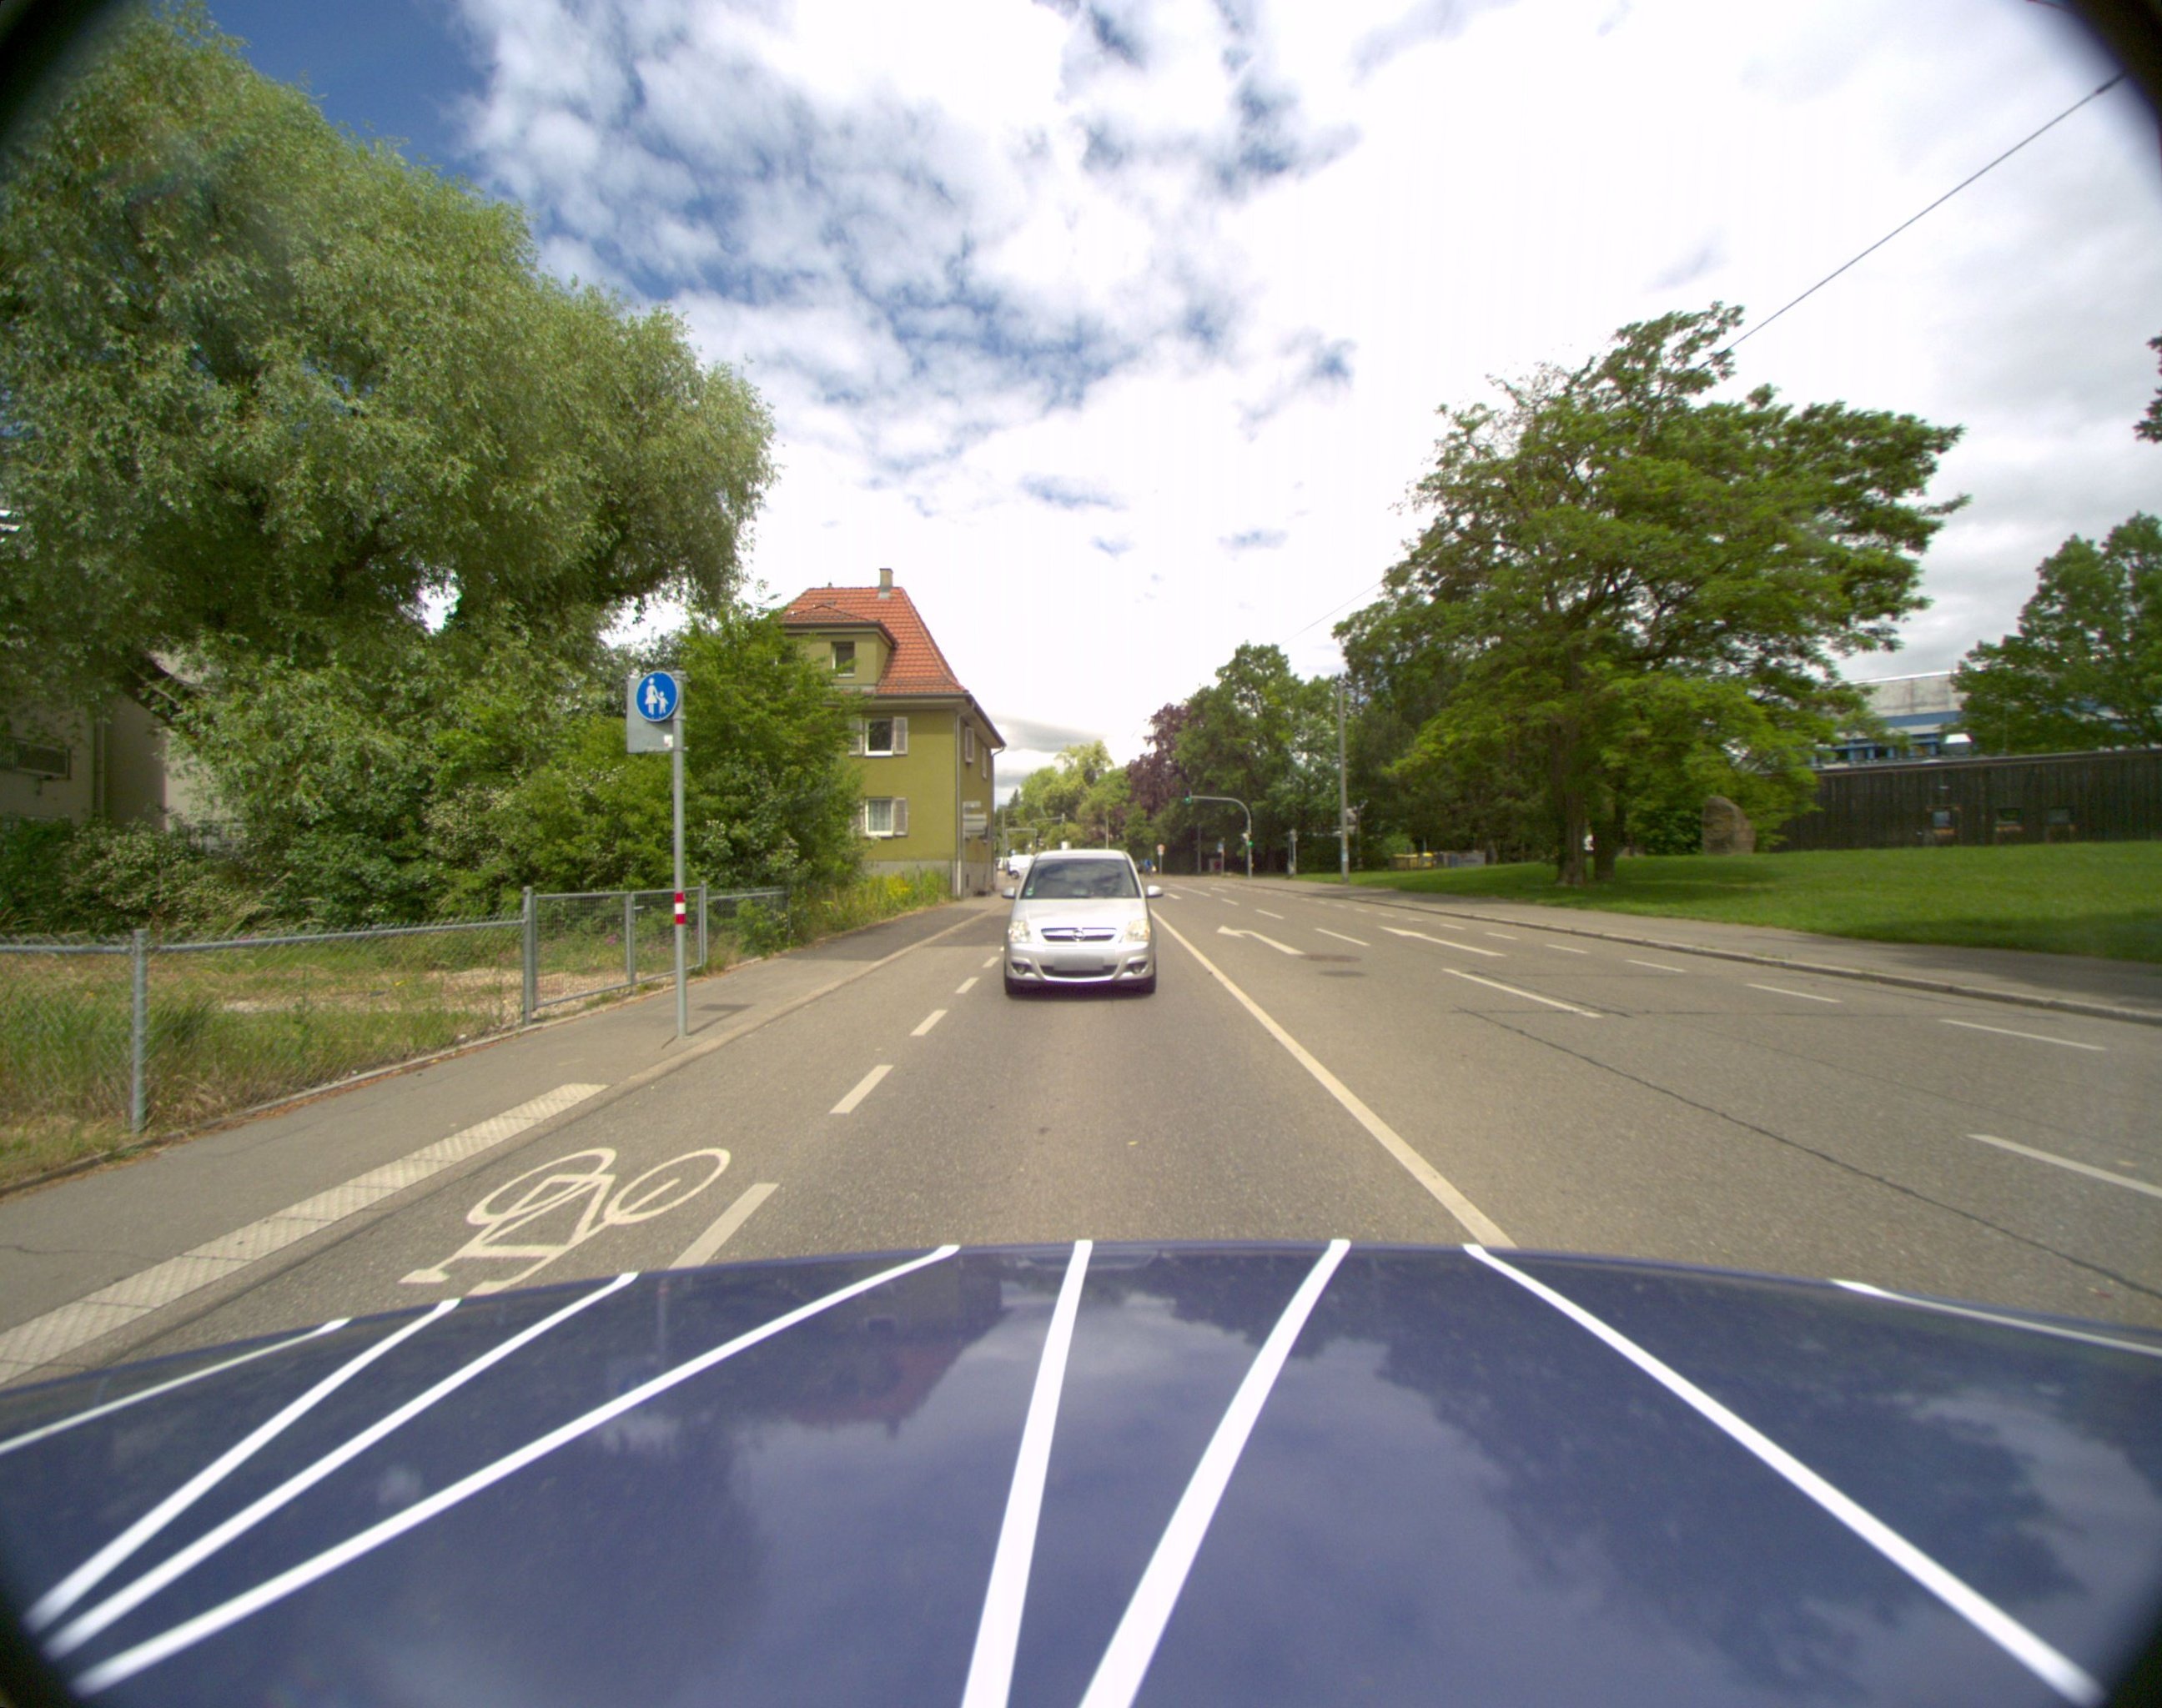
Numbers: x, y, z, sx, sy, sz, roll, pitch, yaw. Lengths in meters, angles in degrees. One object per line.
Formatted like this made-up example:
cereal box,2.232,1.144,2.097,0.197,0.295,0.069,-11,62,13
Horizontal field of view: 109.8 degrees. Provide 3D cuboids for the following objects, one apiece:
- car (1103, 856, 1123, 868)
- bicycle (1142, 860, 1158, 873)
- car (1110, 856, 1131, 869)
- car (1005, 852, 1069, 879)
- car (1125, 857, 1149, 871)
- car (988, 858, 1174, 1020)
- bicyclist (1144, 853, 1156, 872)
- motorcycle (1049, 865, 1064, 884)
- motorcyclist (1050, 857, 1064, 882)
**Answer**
car,4.047,1.006,95.509,1.900,1.501,3.998,0,0,-6
bicycle,6.047,1.122,66.623,0.814,1.101,1.798,-3,0,-14
car,4.649,1.047,90.408,1.900,1.501,3.998,0,0,-6
car,-3.325,0.849,57.073,4.359,1.983,2.003,0,1,26
car,5.962,1.063,81.800,1.900,1.501,3.998,0,0,-6
car,0.068,0.838,9.355,1.780,1.519,4.000,-1,0,2
bicyclist,6.051,0.775,66.567,0.808,1.599,0.771,-3,1,-14
motorcycle,-1.461,1.248,46.375,0.837,1.101,1.800,1,0,0
motorcyclist,-1.455,0.946,46.349,0.837,1.547,0.650,1,1,0
